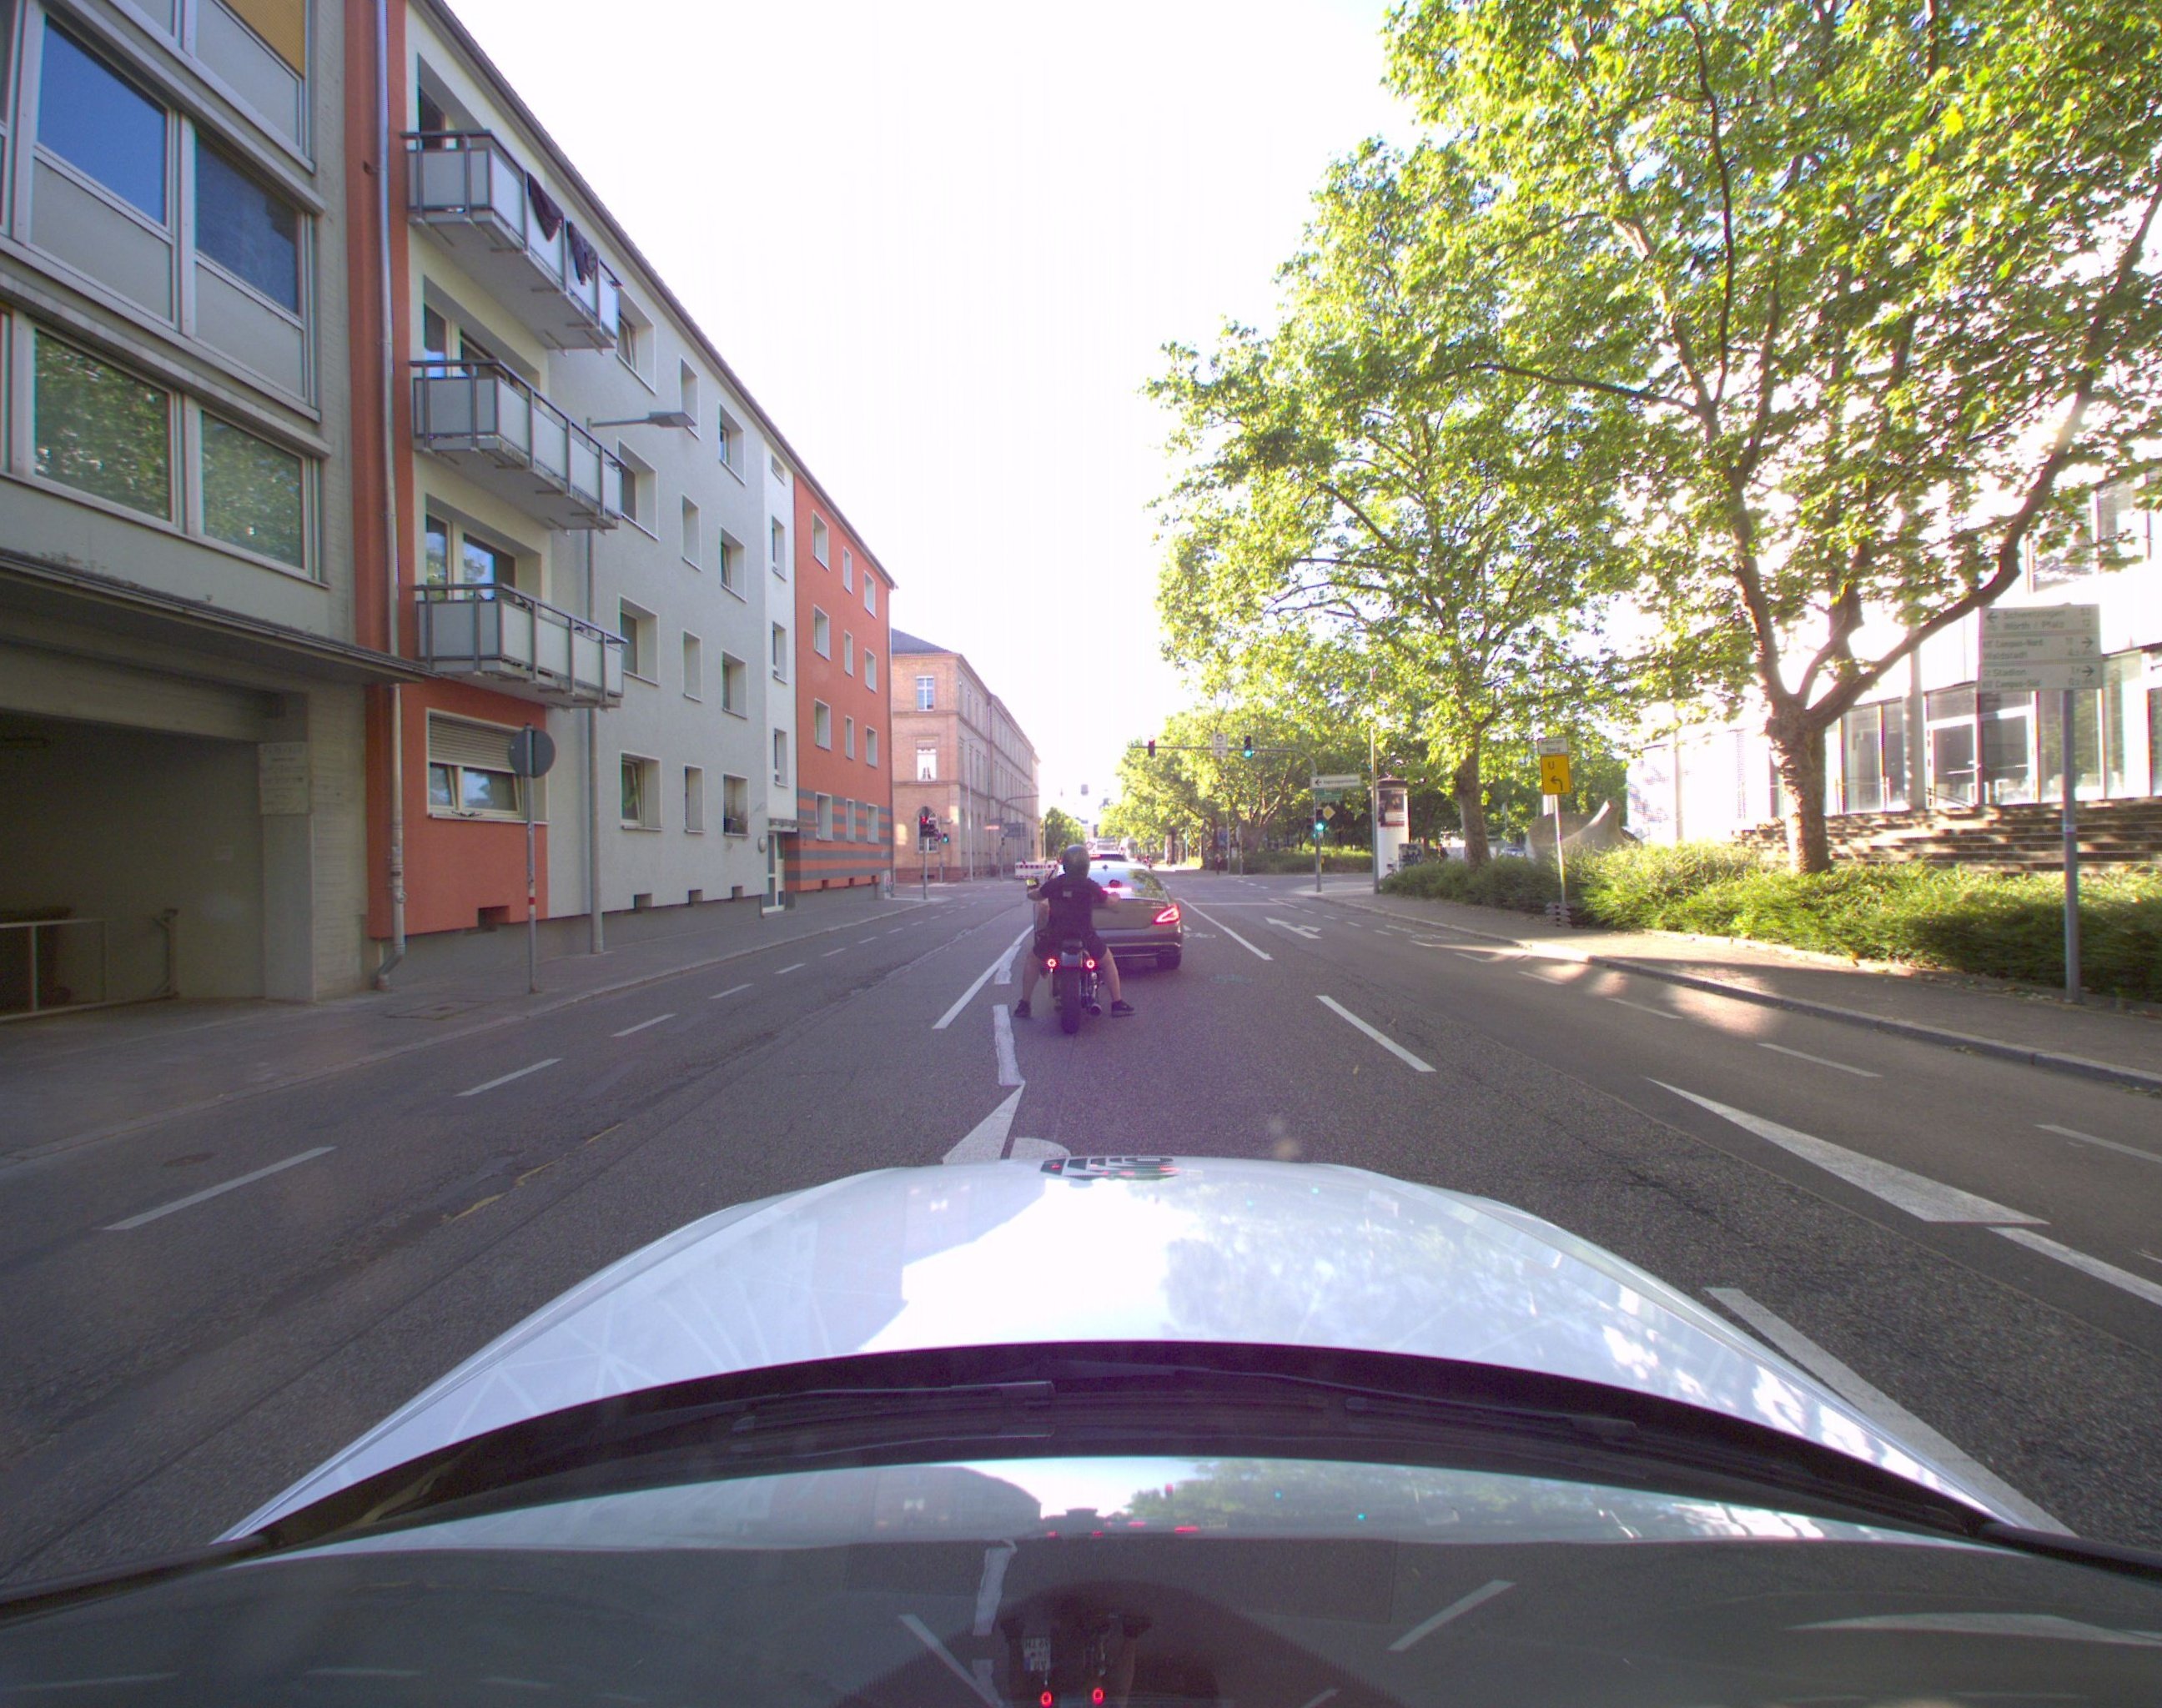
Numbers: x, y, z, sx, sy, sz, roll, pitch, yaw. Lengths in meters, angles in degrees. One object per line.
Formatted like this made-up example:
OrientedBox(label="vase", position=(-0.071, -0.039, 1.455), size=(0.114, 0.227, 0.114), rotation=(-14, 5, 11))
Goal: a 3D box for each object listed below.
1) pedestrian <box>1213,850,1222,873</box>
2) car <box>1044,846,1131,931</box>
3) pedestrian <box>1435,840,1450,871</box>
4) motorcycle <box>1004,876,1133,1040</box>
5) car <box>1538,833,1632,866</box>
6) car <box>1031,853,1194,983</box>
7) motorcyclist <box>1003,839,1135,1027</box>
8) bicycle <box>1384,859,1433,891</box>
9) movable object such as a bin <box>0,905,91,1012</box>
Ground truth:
OrientedBox(label="pedestrian", position=(10.012, 0.564, 59.696), size=(0.557, 1.678, 0.565), rotation=(-1, 0, 1))
OrientedBox(label="car", position=(0.150, 0.677, 17.721), size=(1.676, 1.625, 3.841), rotation=(-1, 0, 1))
OrientedBox(label="pedestrian", position=(21.192, 0.110, 47.708), size=(0.617, 1.784, 0.631), rotation=(-1, 0, 4))
OrientedBox(label="motorcycle", position=(-0.057, 0.858, 7.779), size=(1.003, 1.204, 2.666), rotation=(-1, 0, 2))
OrientedBox(label="car", position=(28.183, -0.247, 45.655), size=(3.975, 1.784, 2.004), rotation=(-1, 0, 7))
OrientedBox(label="car", position=(0.247, 0.751, 11.749), size=(1.818, 1.476, 4.346), rotation=(-1, 0, -5))
OrientedBox(label="motorcyclist", position=(-0.086, 0.682, 7.642), size=(1.109, 1.613, 1.202), rotation=(-1, 0, 1))
OrientedBox(label="bicycle", position=(10.984, 0.712, 27.324), size=(1.411, 1.037, 0.538), rotation=(-1, 0, -2))
OrientedBox(label="movable object such as a bin", position=(-11.249, 1.092, 8.645), size=(0.584, 1.040, 0.712), rotation=(-1, 0, 2))
